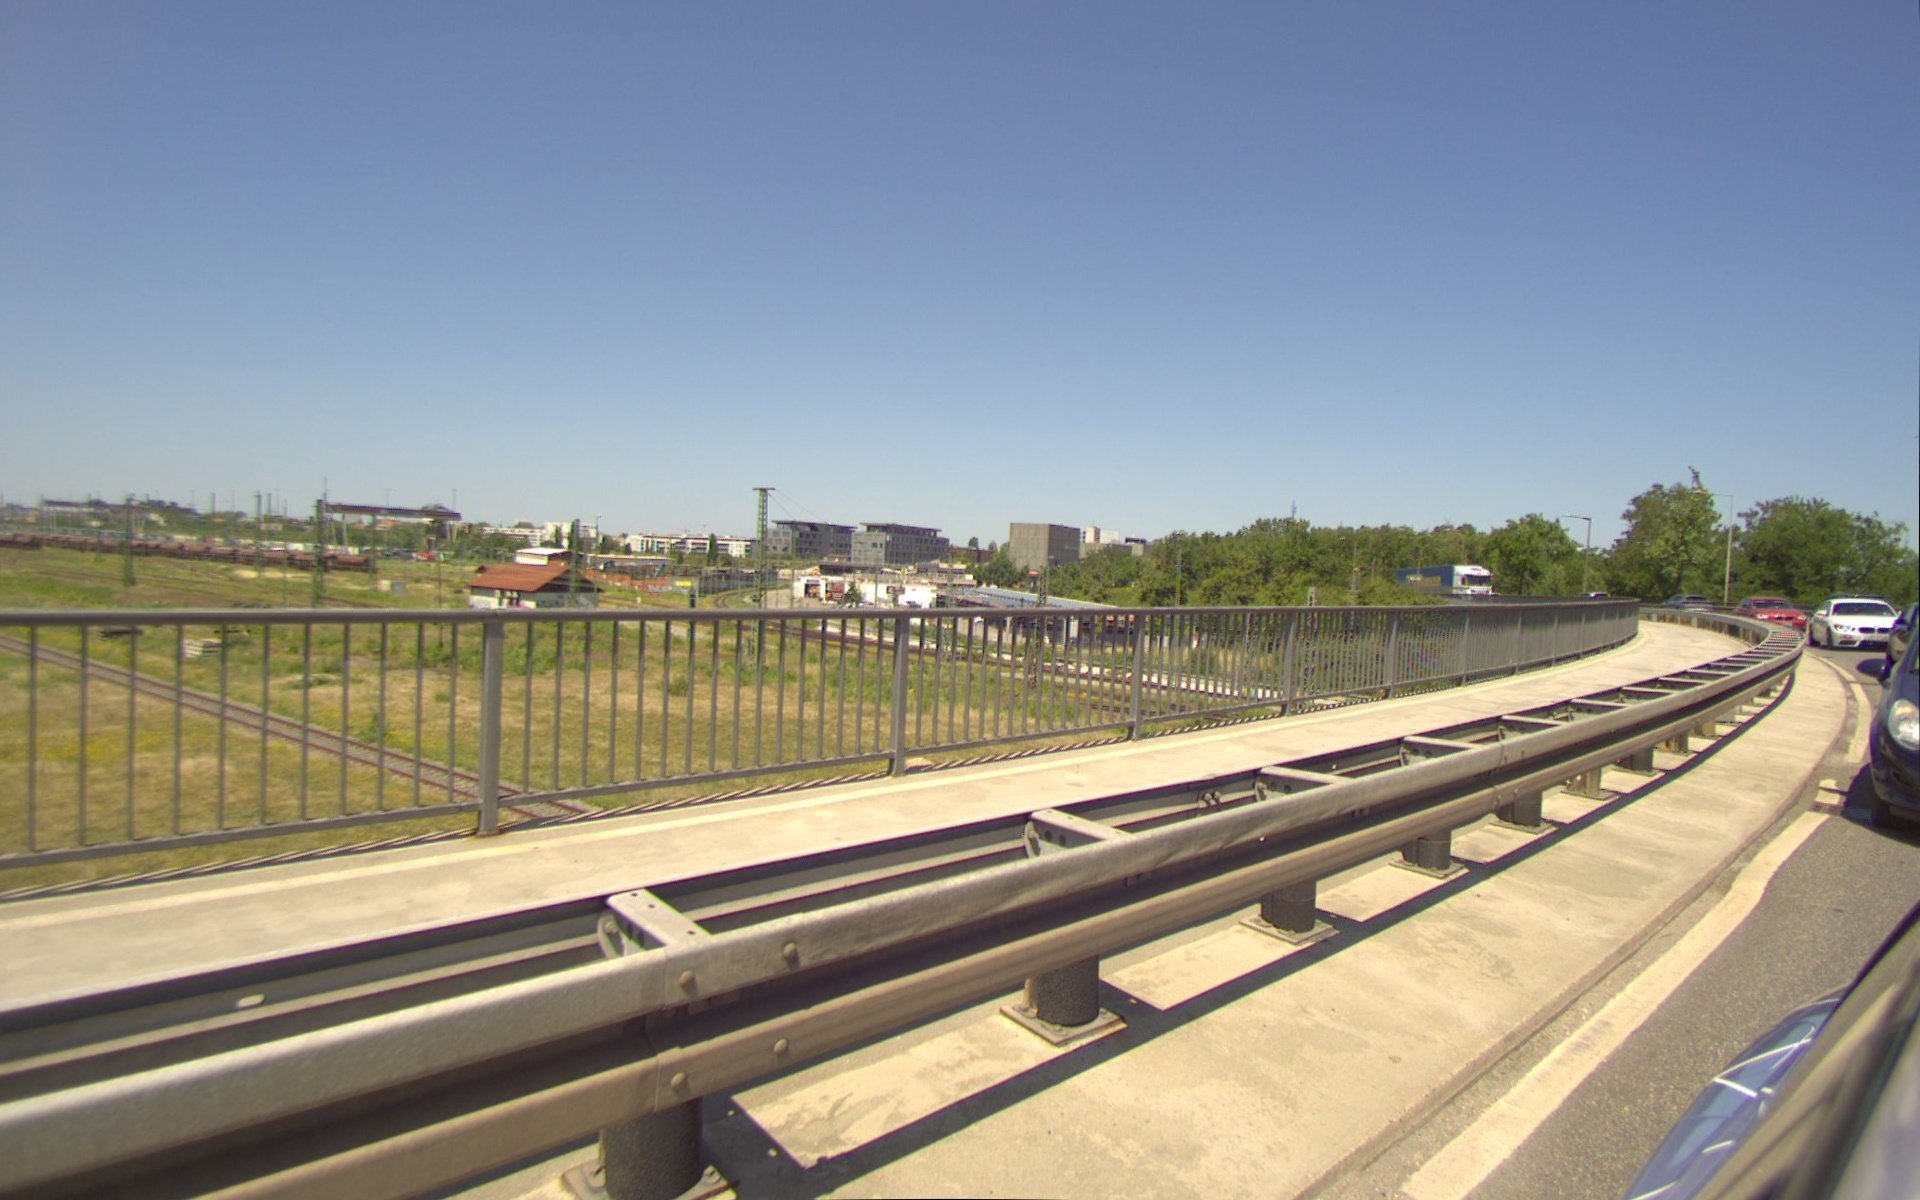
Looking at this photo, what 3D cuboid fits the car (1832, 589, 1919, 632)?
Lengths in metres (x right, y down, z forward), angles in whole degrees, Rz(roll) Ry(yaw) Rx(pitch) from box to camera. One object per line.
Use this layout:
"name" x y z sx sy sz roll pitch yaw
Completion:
"car" 38.723 0.394 42.750 1.760 1.646 4.215 2 1 26

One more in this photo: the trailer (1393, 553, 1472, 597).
"trailer" 49.493 -2.586 106.505 2.652 4.287 12.710 0 1 1

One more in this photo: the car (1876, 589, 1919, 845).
"car" 7.334 0.671 6.687 3.934 1.457 1.642 0 1 -44

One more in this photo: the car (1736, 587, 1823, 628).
"car" 33.578 0.265 41.584 1.778 1.473 4.482 2 2 26

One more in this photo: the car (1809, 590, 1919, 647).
"car" 25.704 0.471 28.759 1.782 1.473 4.471 1 1 32

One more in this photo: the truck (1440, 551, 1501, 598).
"truck" 49.310 -2.440 97.917 2.647 4.281 6.836 0 1 2

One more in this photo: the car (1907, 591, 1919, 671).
"car" 19.716 0.573 19.611 1.788 1.473 4.456 1 1 41

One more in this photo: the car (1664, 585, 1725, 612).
"car" 46.183 -0.116 63.709 1.756 1.526 4.173 2 2 16
